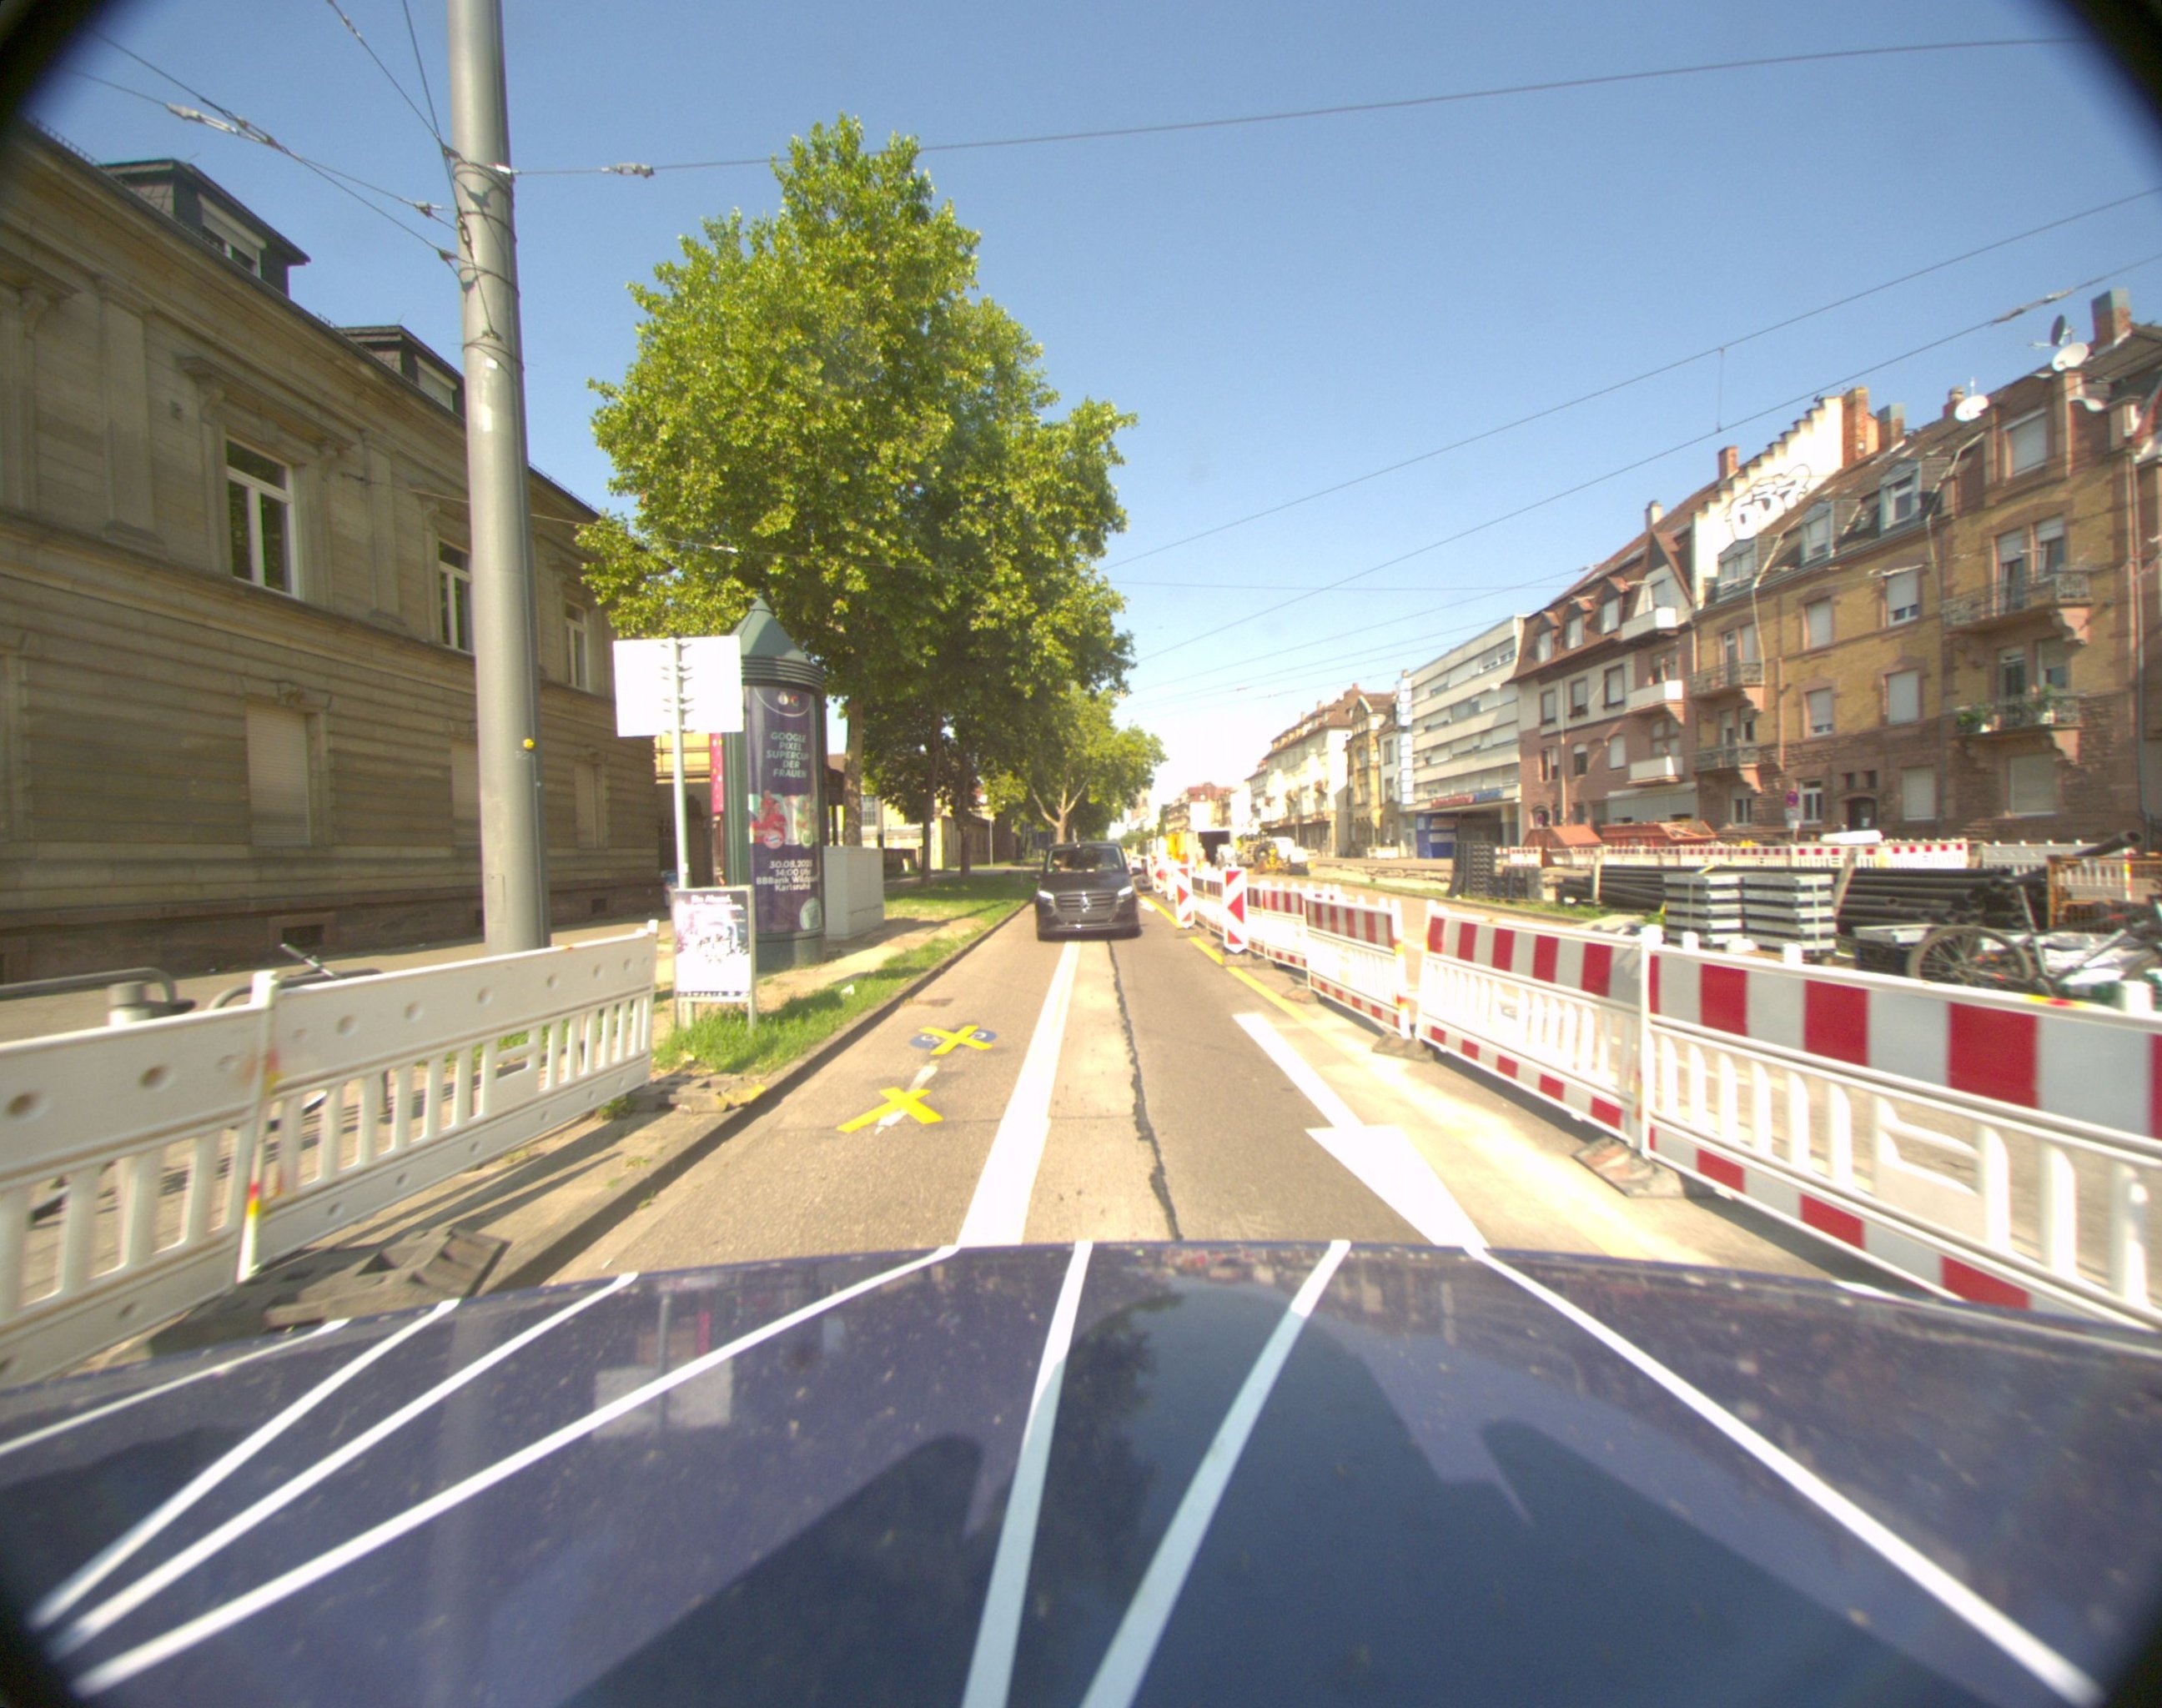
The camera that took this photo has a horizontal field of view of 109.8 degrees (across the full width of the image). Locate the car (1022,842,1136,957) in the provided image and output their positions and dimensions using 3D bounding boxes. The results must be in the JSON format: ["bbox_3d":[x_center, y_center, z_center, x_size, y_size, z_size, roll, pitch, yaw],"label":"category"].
[{"bbox_3d":[0.016,0.749,15.052,1.853,1.875,4.178,-3,1,1],"label":"car"}]

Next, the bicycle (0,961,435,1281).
[{"bbox_3d":[-4.127,1.145,3.719,0.539,1.001,1.571,0,1,1],"label":"bicycle"}]
